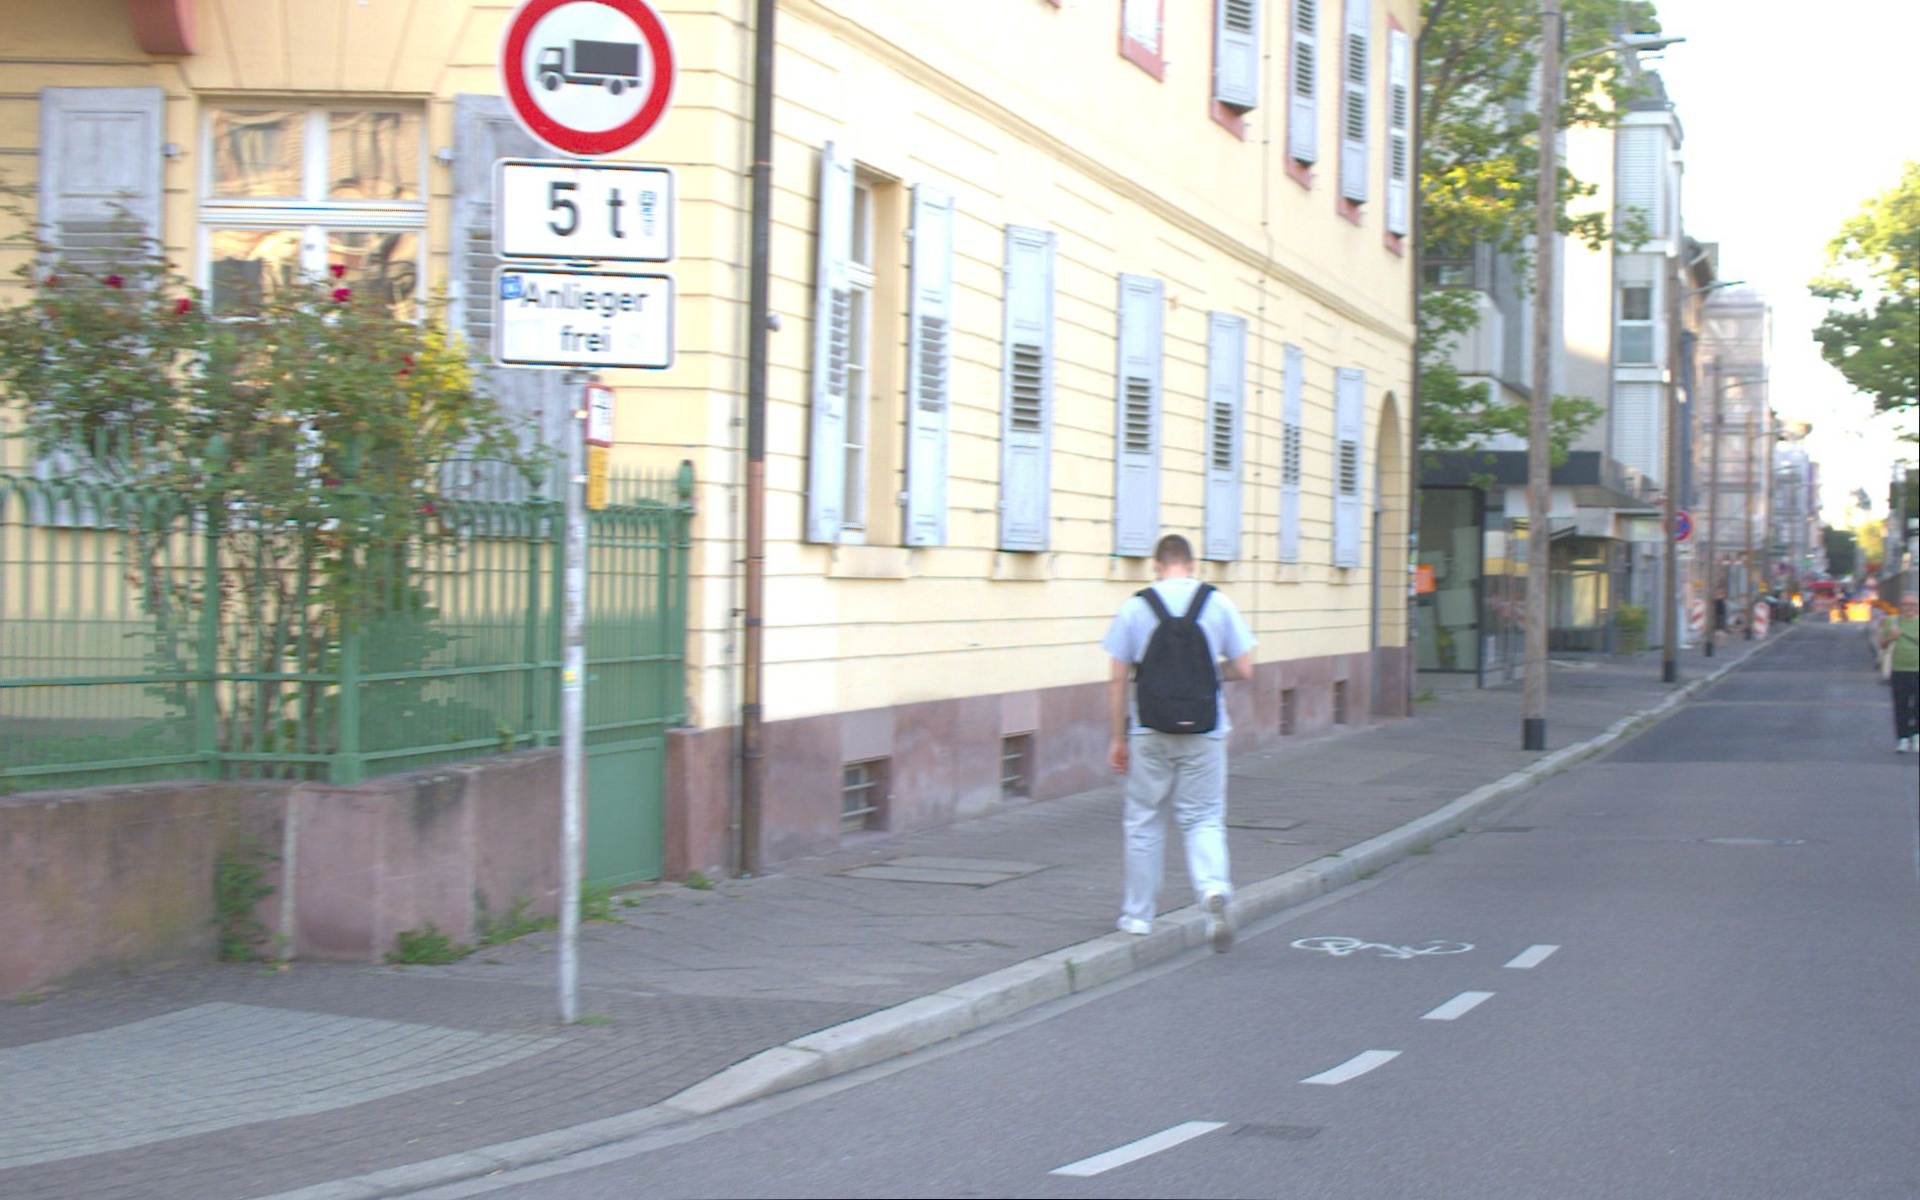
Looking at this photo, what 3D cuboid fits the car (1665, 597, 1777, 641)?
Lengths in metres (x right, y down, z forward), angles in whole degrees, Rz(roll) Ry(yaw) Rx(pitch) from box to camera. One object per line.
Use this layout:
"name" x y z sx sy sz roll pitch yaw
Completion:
"car" 26.491 0.641 119.628 3.745 1.454 1.696 1 0 14

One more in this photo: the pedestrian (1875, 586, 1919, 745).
"pedestrian" 9.832 0.672 35.604 0.614 1.623 0.817 2 0 18

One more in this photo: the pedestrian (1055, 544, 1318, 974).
"pedestrian" 0.960 0.640 14.428 0.877 1.718 0.829 2 0 19
